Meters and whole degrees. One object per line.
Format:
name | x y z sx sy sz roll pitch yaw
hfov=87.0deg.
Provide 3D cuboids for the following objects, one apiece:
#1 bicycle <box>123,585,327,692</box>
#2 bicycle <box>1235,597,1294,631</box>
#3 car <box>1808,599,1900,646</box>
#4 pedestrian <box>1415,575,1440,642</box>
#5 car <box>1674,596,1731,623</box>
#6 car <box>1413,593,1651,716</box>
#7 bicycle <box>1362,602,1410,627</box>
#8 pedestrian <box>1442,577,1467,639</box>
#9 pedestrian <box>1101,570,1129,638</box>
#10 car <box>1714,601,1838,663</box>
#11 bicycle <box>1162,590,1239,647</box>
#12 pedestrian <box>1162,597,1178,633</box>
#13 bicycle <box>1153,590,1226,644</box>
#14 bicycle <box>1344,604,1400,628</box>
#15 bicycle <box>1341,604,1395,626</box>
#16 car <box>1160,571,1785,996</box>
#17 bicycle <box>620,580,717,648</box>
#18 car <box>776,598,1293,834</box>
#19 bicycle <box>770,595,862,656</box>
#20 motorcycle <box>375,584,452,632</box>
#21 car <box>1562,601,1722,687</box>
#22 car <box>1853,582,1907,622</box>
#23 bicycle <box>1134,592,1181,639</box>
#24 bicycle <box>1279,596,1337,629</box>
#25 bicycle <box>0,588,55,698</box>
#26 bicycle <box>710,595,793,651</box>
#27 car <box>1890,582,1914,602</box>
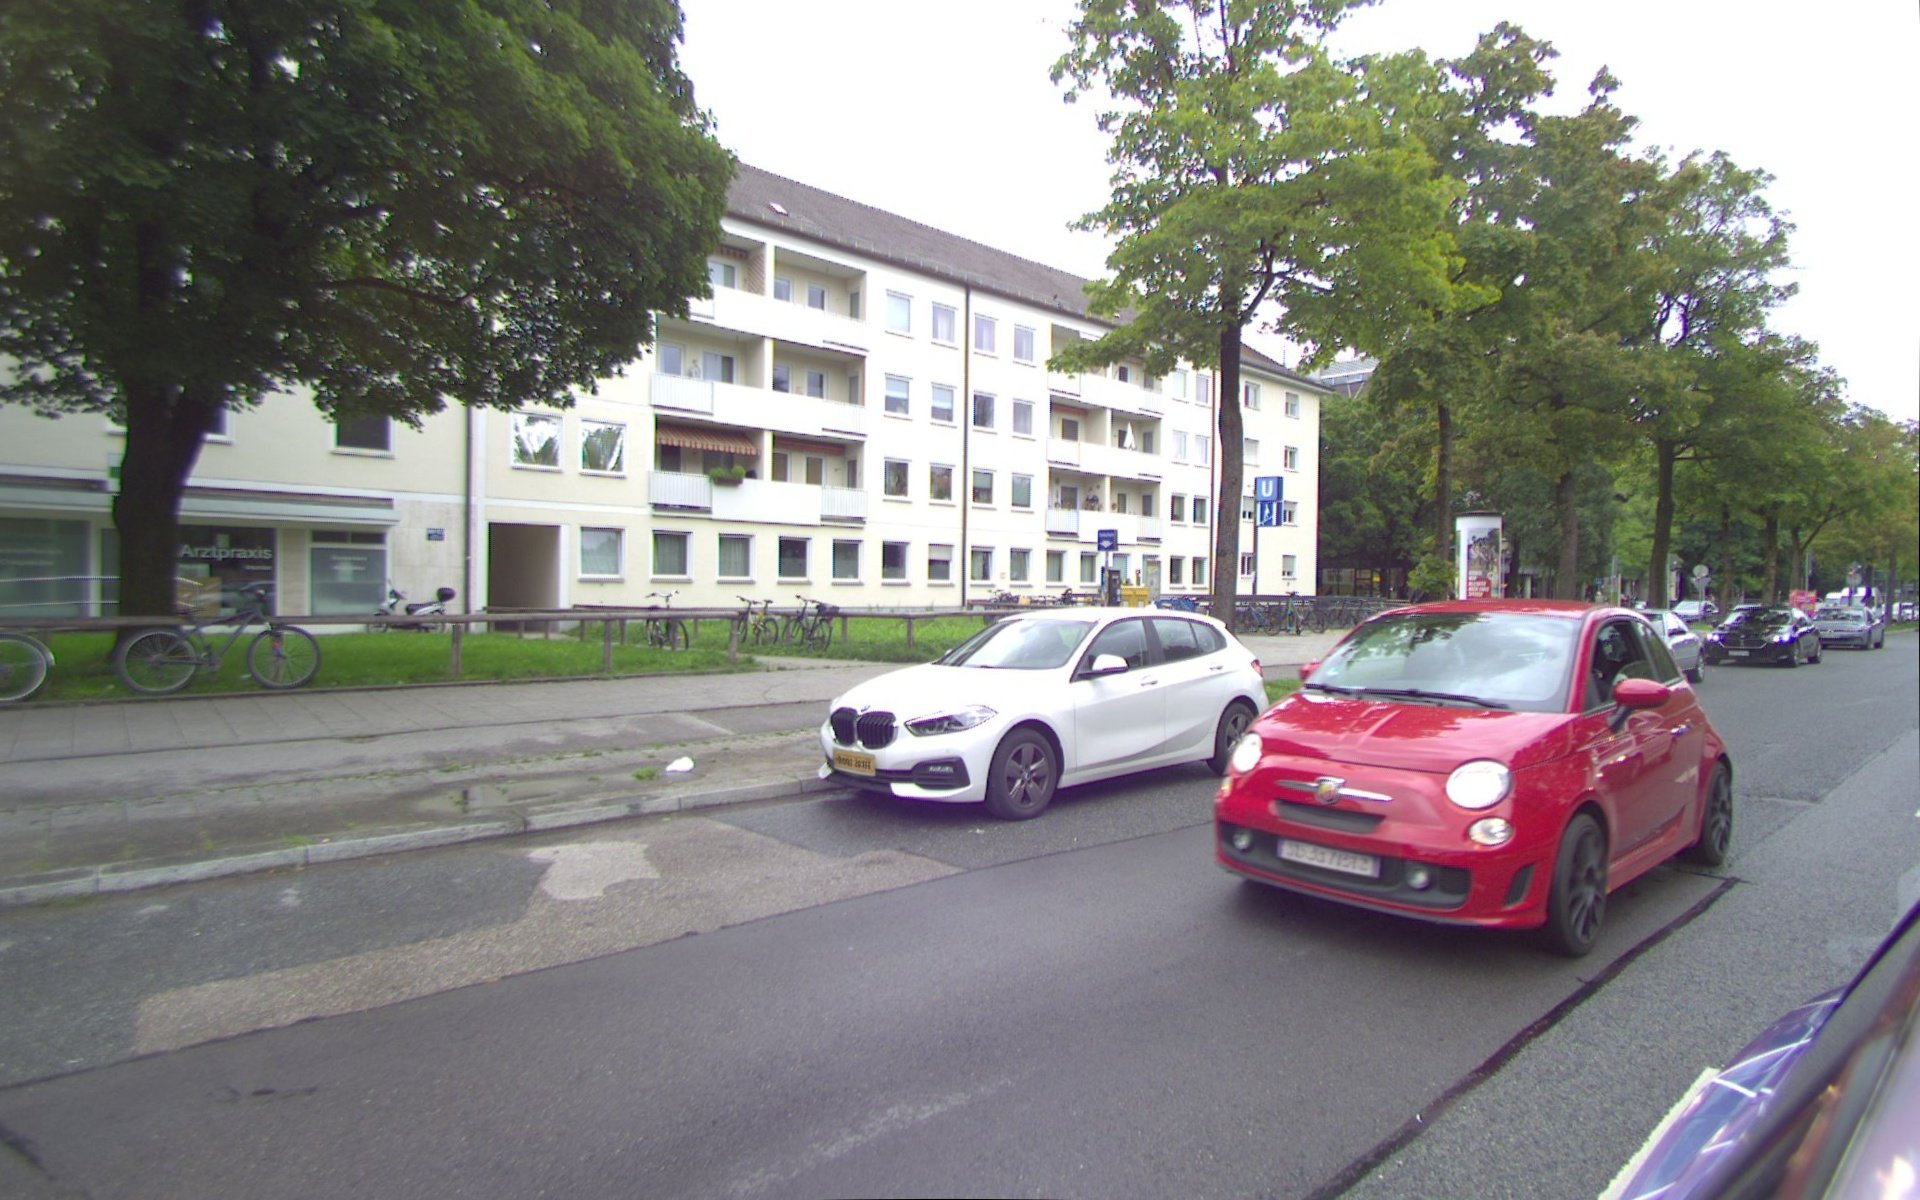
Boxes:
bicycle | -7.851 0.377 10.865 1.738 1.068 0.470 -1 0 -42
bicycle | 8.708 0.392 28.990 0.490 0.927 1.595 0 1 -45
car | 30.548 0.726 34.553 4.225 1.487 1.825 0 0 -41
pedestrian | 12.574 0.226 27.214 0.555 1.778 0.651 1 0 29
car | 43.714 0.523 59.528 4.225 1.487 1.825 0 0 -41
car | 8.440 0.678 14.788 4.086 1.530 1.824 0 0 -42
bicycle | 14.277 0.480 33.914 0.490 0.722 1.389 0 3 -45
pedestrian | 13.062 0.196 26.753 0.555 1.625 0.515 1 0 30
pedestrian | 3.917 0.084 25.535 0.555 1.694 0.515 1 0 30
car | 20.507 0.744 25.374 4.227 1.397 1.824 0 0 -43
bicycle | 5.301 0.384 22.242 2.039 1.203 0.545 0 0 -41
pedestrian | 5.484 0.389 26.424 0.333 0.932 0.393 1 0 21
bicycle | 5.346 0.374 23.493 2.039 1.203 0.545 0 0 -41
bicycle | 13.374 0.515 32.889 0.490 0.645 1.596 0 3 -45
bicycle | 13.619 0.488 33.807 0.490 0.704 1.595 0 0 -45
car | 3.111 0.646 5.679 4.226 1.519 1.721 0 0 -42
bicycle | -4.903 0.209 16.946 0.653 1.081 2.027 0 1 -45
car | 0.787 0.729 8.351 4.212 1.455 1.824 0 -1 -41
bicycle | -2.742 0.449 19.120 0.653 1.081 2.027 0 1 -45
motorcycle | -13.427 0.187 24.886 1.593 1.134 0.606 0 0 -41
car | 12.638 0.732 18.671 3.860 1.397 1.615 0 0 -43
car | 59.053 0.105 64.934 4.912 2.486 1.997 -1 0 -41
bicycle | 4.808 0.364 24.649 1.231 1.130 0.466 0 0 -41
bicycle | 10.532 0.371 30.697 0.490 0.927 1.596 0 2 -45
bicycle | -9.588 0.405 9.340 1.820 1.028 0.448 0 0 -41
bicycle | -4.313 0.446 20.840 0.653 1.081 2.027 0 1 -45
car | 123.307 -1.034 132.467 4.915 2.485 1.996 0 1 -43
